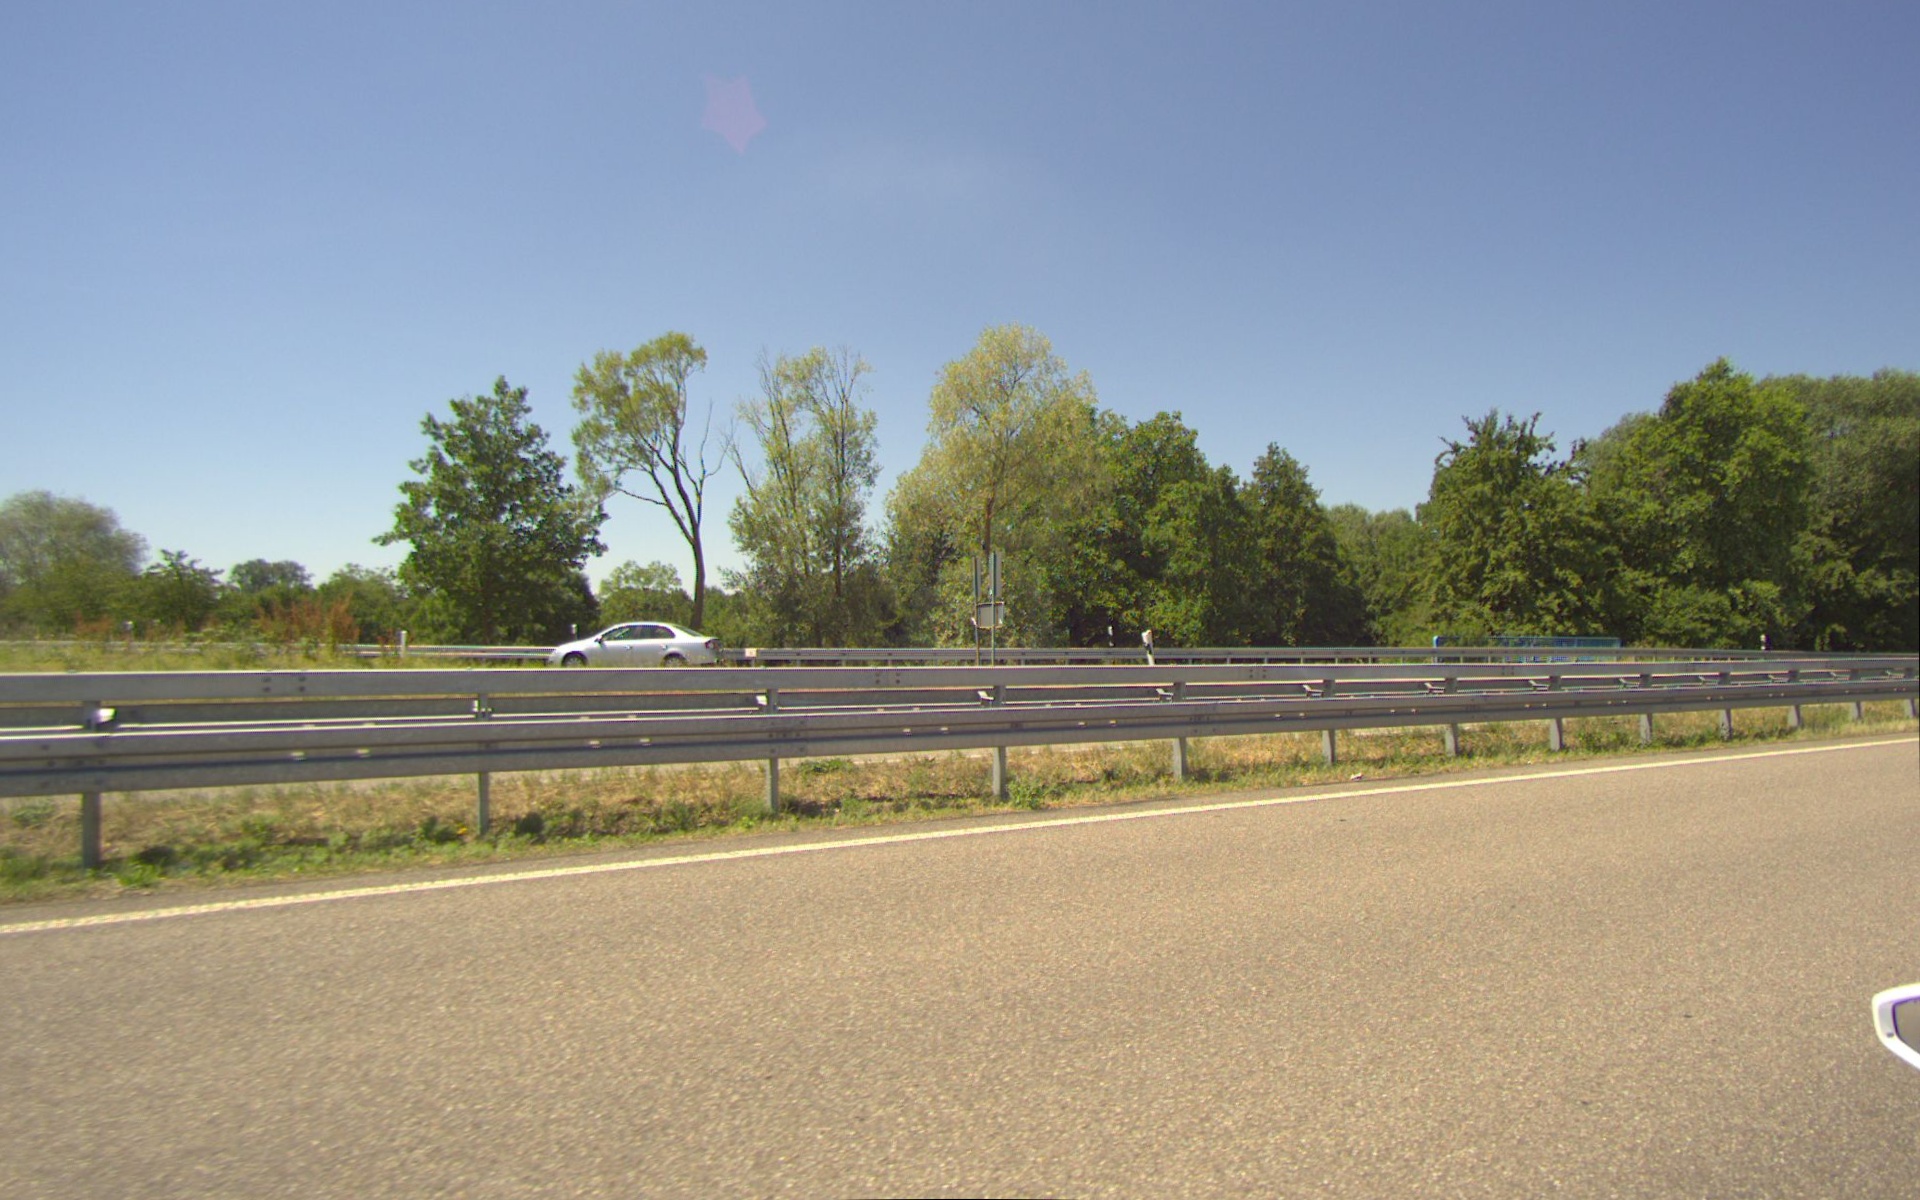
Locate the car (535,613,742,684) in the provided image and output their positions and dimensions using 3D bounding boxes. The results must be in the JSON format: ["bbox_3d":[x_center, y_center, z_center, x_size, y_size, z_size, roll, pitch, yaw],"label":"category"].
[{"bbox_3d":[-8.367,1.252,26.458,4.846,1.667,1.729,2,0,-1],"label":"car"}]
